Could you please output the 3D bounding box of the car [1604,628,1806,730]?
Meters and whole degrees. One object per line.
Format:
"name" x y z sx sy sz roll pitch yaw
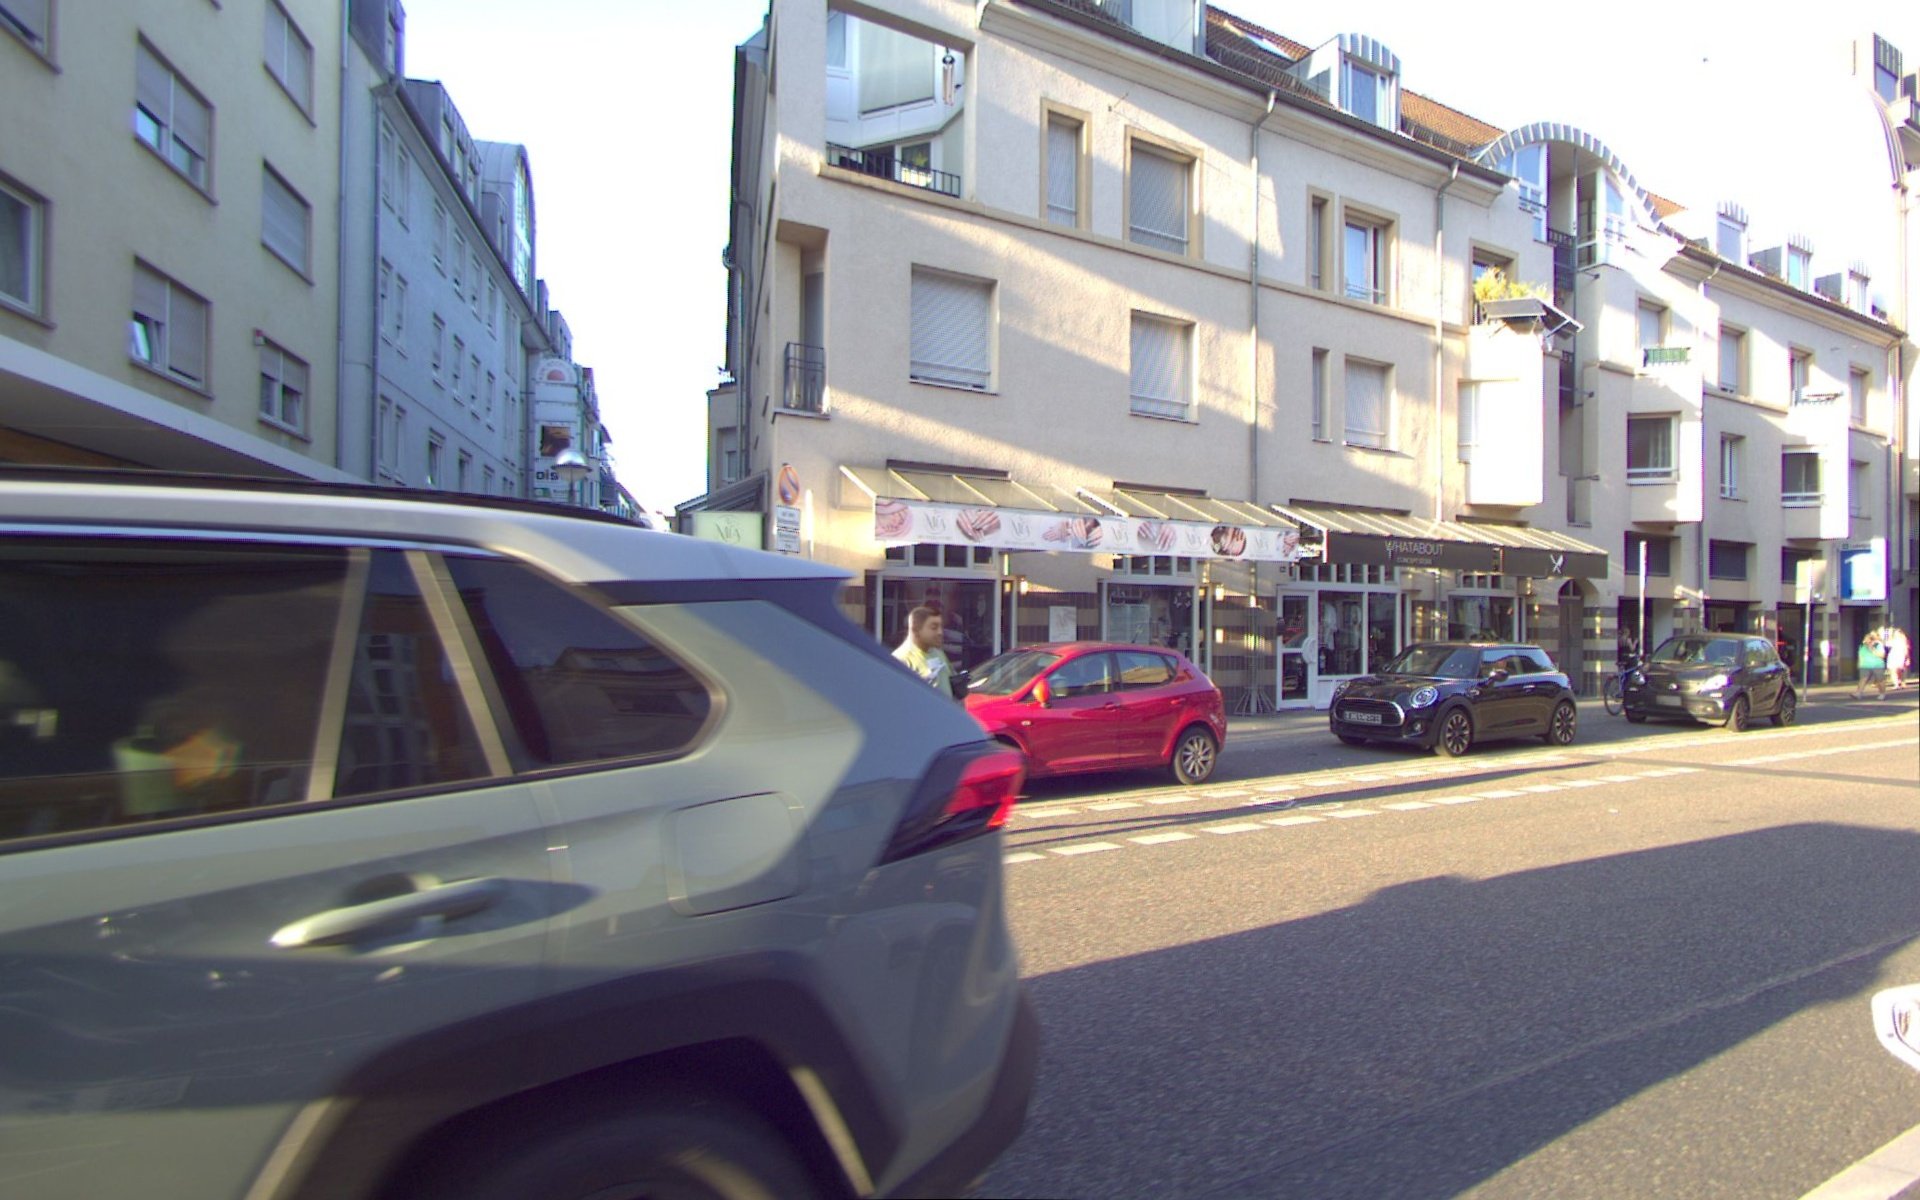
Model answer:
"car" 12.694 1.265 17.102 3.154 1.555 1.782 1 -1 -33

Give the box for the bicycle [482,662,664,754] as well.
"bicycle" -4.634 1.268 12.090 1.991 1.005 0.487 2 0 -29

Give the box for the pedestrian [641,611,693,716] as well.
"pedestrian" -4.879 1.041 16.765 0.766 1.698 0.904 2 0 -15

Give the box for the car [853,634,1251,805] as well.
"car" 1.002 1.108 10.371 3.838 1.421 1.653 2 0 -30

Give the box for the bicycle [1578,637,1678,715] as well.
"bicycle" 12.674 1.421 19.036 2.331 1.393 0.607 2 0 -31

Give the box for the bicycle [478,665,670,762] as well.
"bicycle" -4.421 1.274 11.580 1.993 1.005 0.487 2 0 -32

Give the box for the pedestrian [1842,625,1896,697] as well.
"pedestrian" 21.753 1.446 24.041 0.941 1.663 0.712 2 0 -32

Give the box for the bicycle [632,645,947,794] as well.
"bicycle" -1.708 1.156 10.441 3.092 1.317 0.953 2 0 -32

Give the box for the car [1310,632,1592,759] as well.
"car" 6.774 1.231 13.818 3.681 1.473 1.703 2 0 -30

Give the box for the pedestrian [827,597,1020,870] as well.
"pedestrian" -0.268 0.867 6.935 0.982 1.697 0.899 0 -4 -32

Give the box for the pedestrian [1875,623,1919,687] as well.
"pedestrian" 25.495 1.484 27.231 0.843 1.663 0.714 2 0 -25

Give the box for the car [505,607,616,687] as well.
"car" -10.260 1.158 26.165 1.966 1.852 4.868 2 -1 -14

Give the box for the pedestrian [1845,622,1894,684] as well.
"pedestrian" 25.265 1.473 27.913 0.843 1.663 0.714 2 0 -25

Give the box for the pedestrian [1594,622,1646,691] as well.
"pedestrian" 16.049 1.366 24.431 0.844 1.637 0.714 2 0 -27

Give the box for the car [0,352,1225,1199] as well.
"car" -1.962 0.575 1.668 4.683 1.666 1.932 2 -2 -30

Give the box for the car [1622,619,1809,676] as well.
"car" 24.605 1.505 32.910 1.974 1.623 4.479 2 0 -26
